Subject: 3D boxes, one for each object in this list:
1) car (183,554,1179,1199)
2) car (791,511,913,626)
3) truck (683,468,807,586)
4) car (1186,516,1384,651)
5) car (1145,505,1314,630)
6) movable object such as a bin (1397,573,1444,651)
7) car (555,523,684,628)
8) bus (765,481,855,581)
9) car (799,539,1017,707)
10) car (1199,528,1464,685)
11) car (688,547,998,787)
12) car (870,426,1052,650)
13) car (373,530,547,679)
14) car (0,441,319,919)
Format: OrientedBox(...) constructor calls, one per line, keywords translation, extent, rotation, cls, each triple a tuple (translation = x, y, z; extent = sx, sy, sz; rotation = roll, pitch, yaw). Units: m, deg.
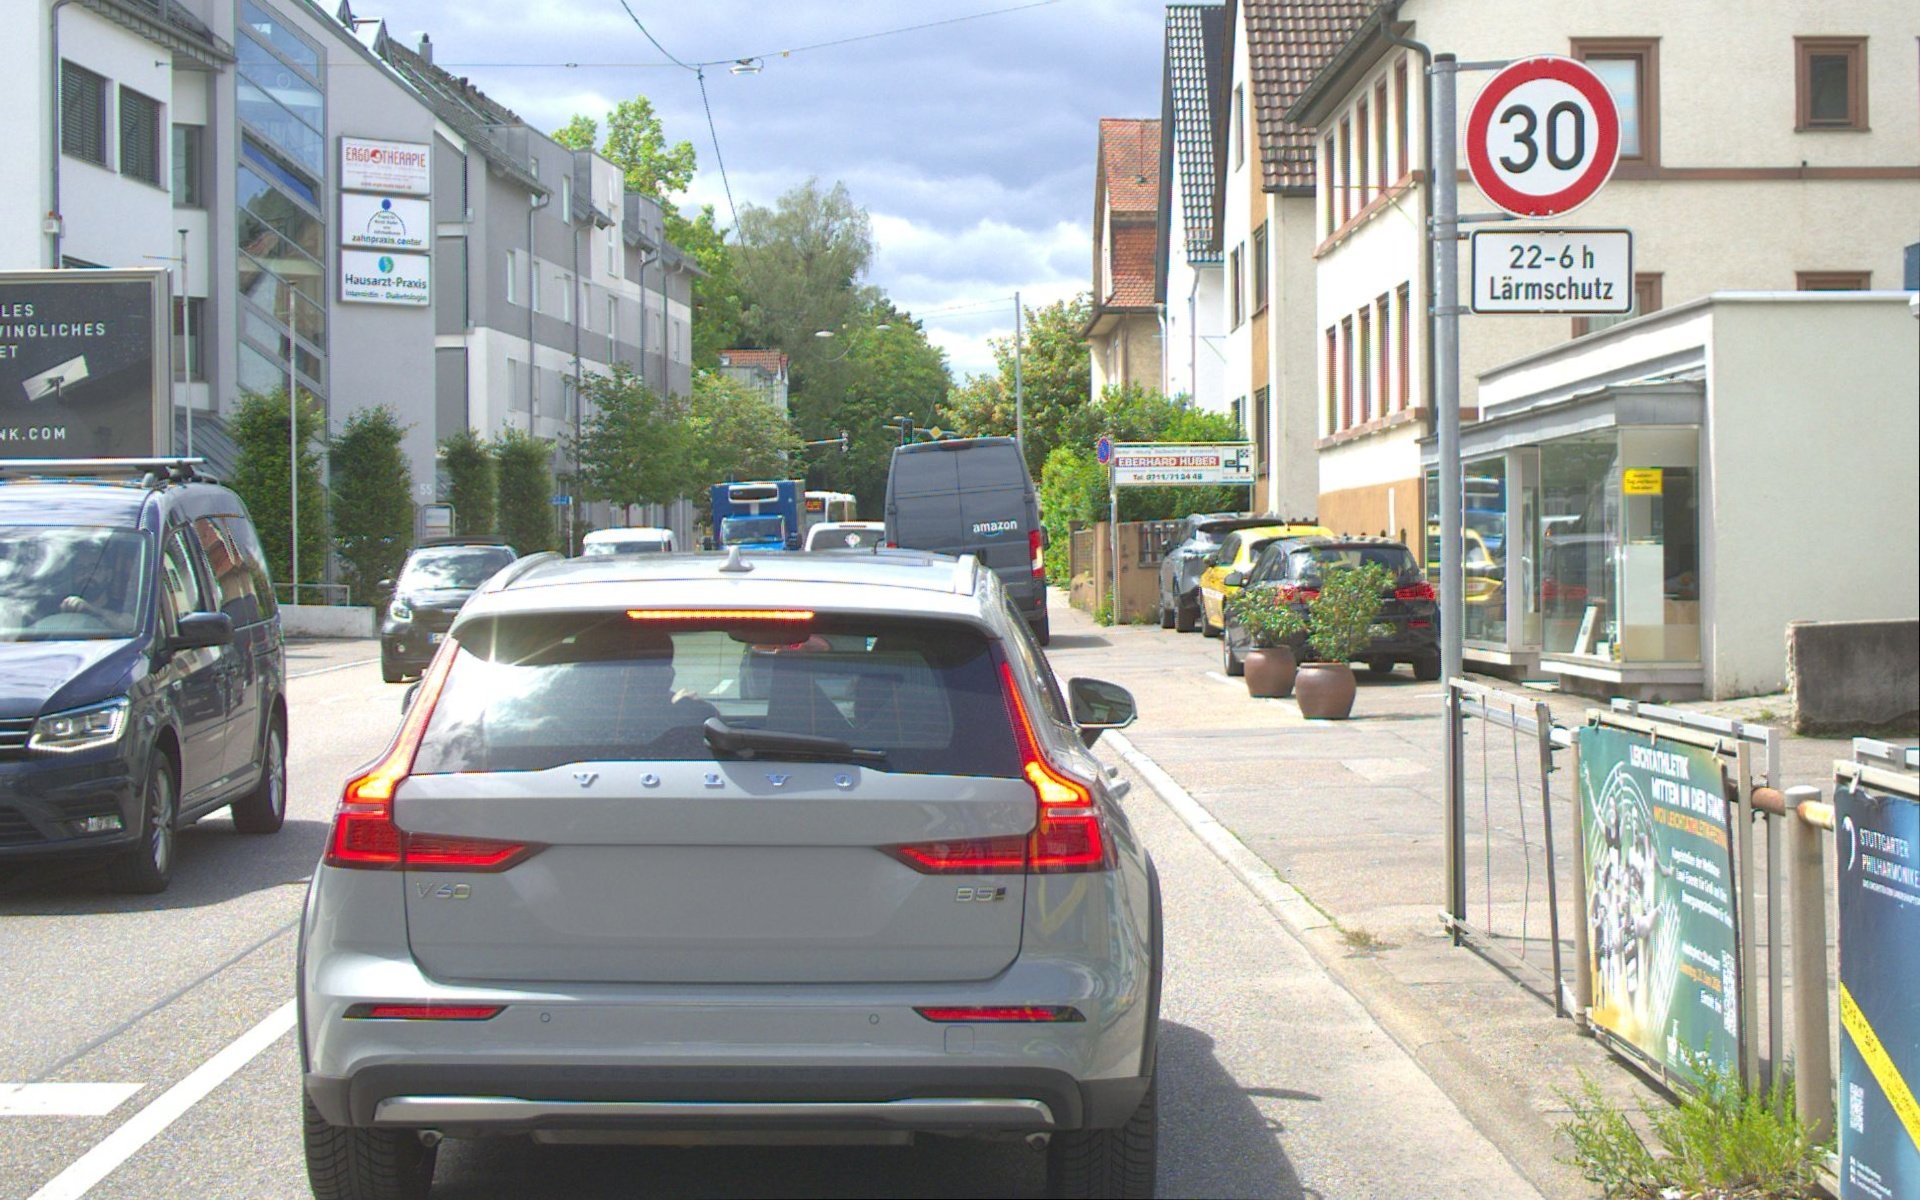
OrientedBox(translation=(-0.500, 0.631, 8.542), extent=(1.896, 1.448, 3.968), rotation=(0, 1, 1), cls="car")
OrientedBox(translation=(-1.910, -0.593, 62.014), extent=(1.993, 2.007, 4.000), rotation=(0, 1, 1), cls="car")
OrientedBox(translation=(-5.892, -2.006, 95.425), extent=(2.853, 3.082, 8.089), rotation=(-1, 1, 0), cls="truck")
OrientedBox(translation=(4.029, -0.252, 43.279), extent=(1.877, 1.442, 4.308), rotation=(-1, 3, -3), cls="car")
OrientedBox(translation=(3.711, -0.482, 48.061), extent=(1.860, 1.606, 4.586), rotation=(-2, 1, -1), cls="car")
OrientedBox(translation=(5.523, 0.139, 41.267), extent=(0.501, 0.922, 0.598), rotation=(-1, 1, 3), cls="movable object such as a bin")
OrientedBox(translation=(-6.140, -0.470, 62.410), extent=(1.945, 1.814, 4.279), rotation=(-1, 1, -1), cls="car")
OrientedBox(translation=(-4.961, -2.291, 115.021), extent=(2.682, 3.153, 10.185), rotation=(-1, 1, -1), cls="bus")
OrientedBox(translation=(-0.423, 0.164, 32.056), extent=(1.896, 1.441, 3.968), rotation=(0, 1, 1), cls="car")
OrientedBox(translation=(3.672, 0.015, 34.769), extent=(1.968, 1.442, 4.536), rotation=(-1, 1, -3), cls="car")
OrientedBox(translation=(-0.699, 0.382, 23.055), extent=(1.896, 1.441, 3.969), rotation=(0, 1, 1), cls="car")
OrientedBox(translation=(-0.018, -0.836, 46.271), extent=(2.252, 2.786, 5.569), rotation=(-1, 1, -1), cls="car")
OrientedBox(translation=(-5.723, 0.020, 39.618), extent=(1.676, 1.629, 2.834), rotation=(-1, 1, -3), cls="car")
OrientedBox(translation=(-4.343, 0.282, 15.940), extent=(1.948, 1.870, 4.877), rotation=(-1, 1, -2), cls="car")
